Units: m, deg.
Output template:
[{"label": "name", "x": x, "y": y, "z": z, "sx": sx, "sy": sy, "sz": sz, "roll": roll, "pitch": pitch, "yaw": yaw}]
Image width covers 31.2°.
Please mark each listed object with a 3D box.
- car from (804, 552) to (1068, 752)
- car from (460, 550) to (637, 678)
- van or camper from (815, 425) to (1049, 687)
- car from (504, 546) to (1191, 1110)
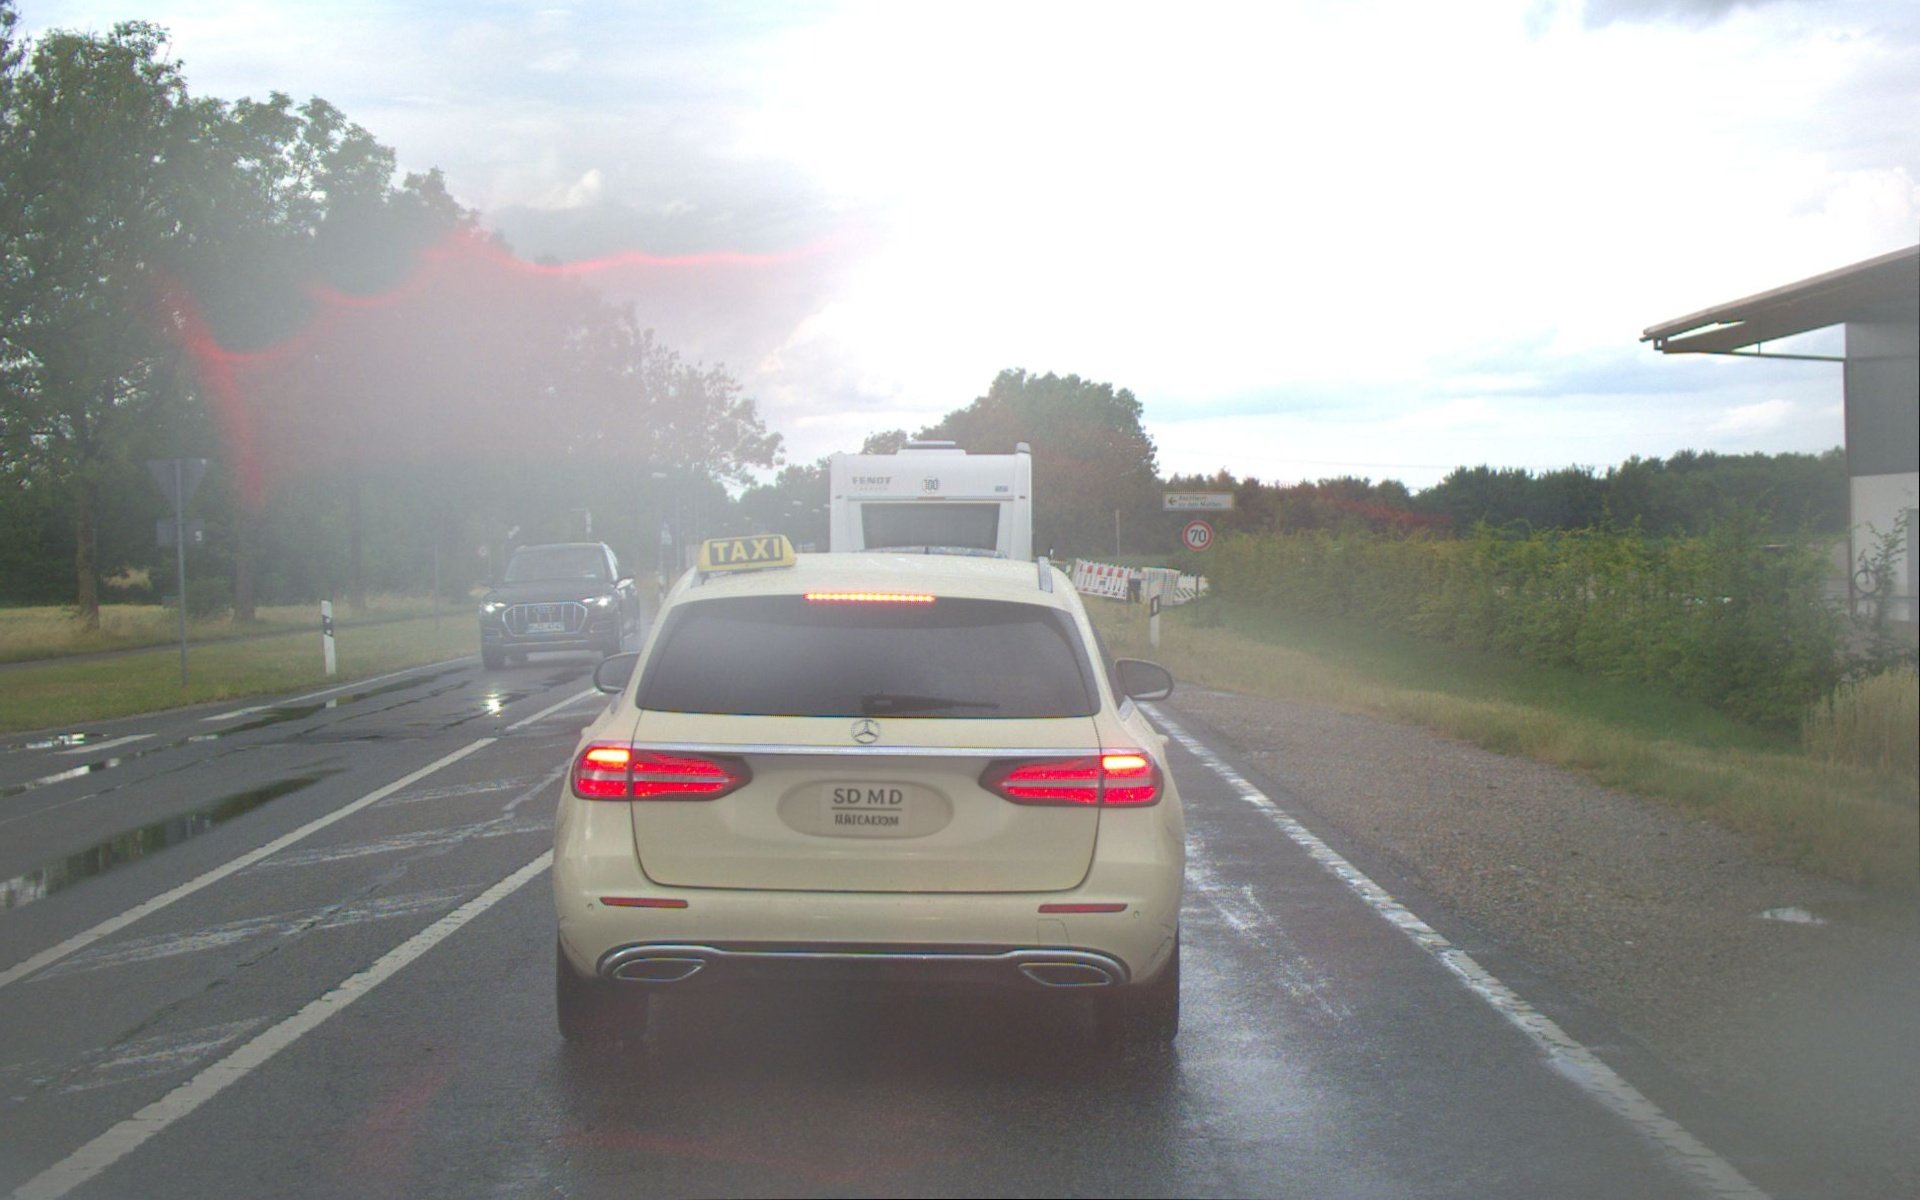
[{"label": "car", "x": -0.208, "y": 0.343, "z": 26.626, "sx": 1.894, "sy": 1.424, "sz": 3.928, "roll": 0, "pitch": 1, "yaw": -1}, {"label": "car", "x": -5.625, "y": 0.157, "z": 47.469, "sx": 1.916, "sy": 1.626, "sz": 4.357, "roll": -2, "pitch": 1, "yaw": 0}, {"label": "van or camper", "x": -0.281, "y": -0.533, "z": 41.001, "sx": 2.497, "sy": 2.821, "sz": 5.934, "roll": -2, "pitch": 1, "yaw": 1}, {"label": "car", "x": -0.296, "y": 0.571, "z": 11.098, "sx": 1.797, "sy": 1.459, "sz": 4.031, "roll": 1, "pitch": 1, "yaw": 0}]
